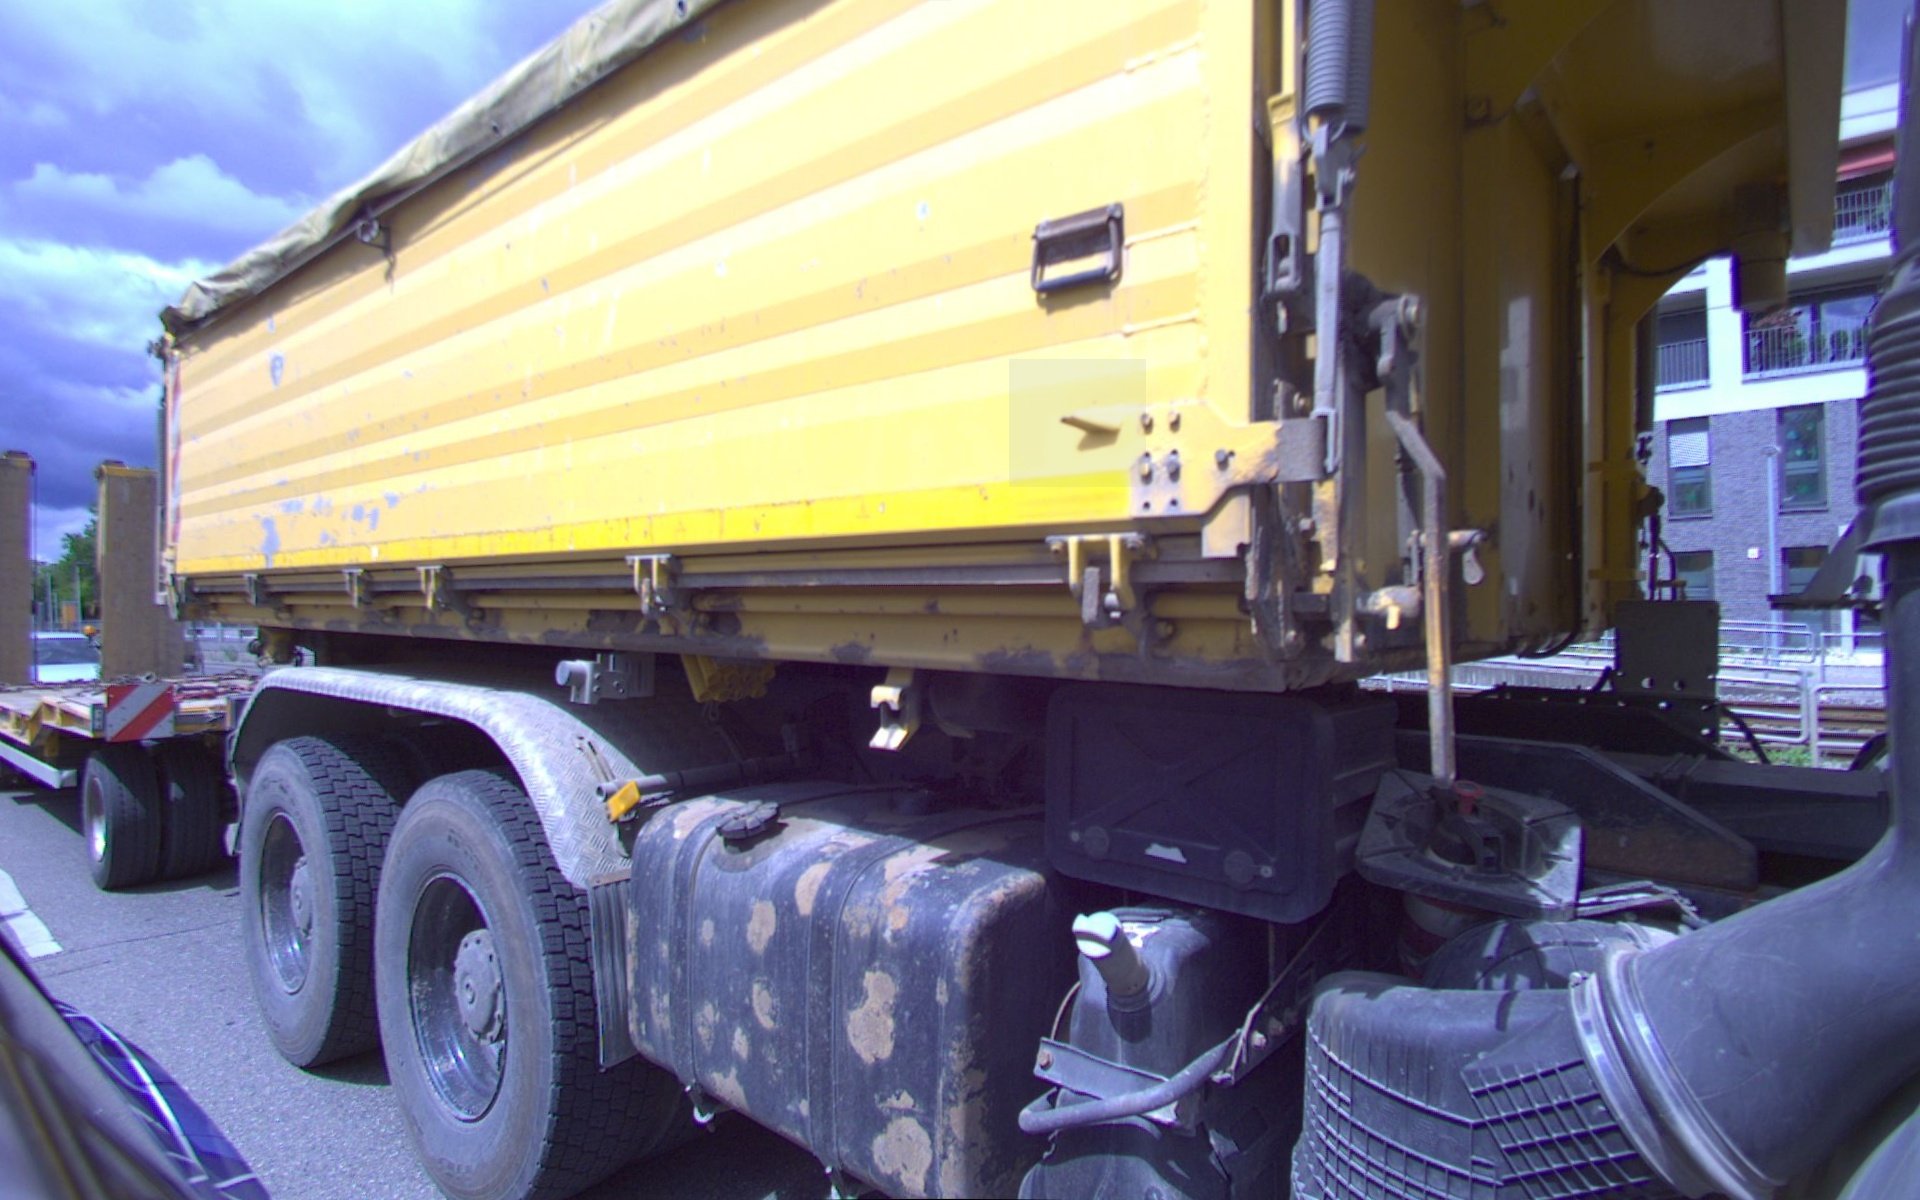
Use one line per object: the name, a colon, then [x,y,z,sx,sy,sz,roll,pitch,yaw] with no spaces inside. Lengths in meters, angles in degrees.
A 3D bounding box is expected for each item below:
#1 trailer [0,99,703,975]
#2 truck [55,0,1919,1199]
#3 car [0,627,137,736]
trailer: [-6.850,-0.148,9.014,10.957,3.726,3.018,-2,-1,40]
truck: [0.160,-0.231,2.906,7.999,3.420,3.019,-2,-1,40]
car: [-14.003,1.162,15.350,3.784,1.427,1.761,-2,-1,41]
